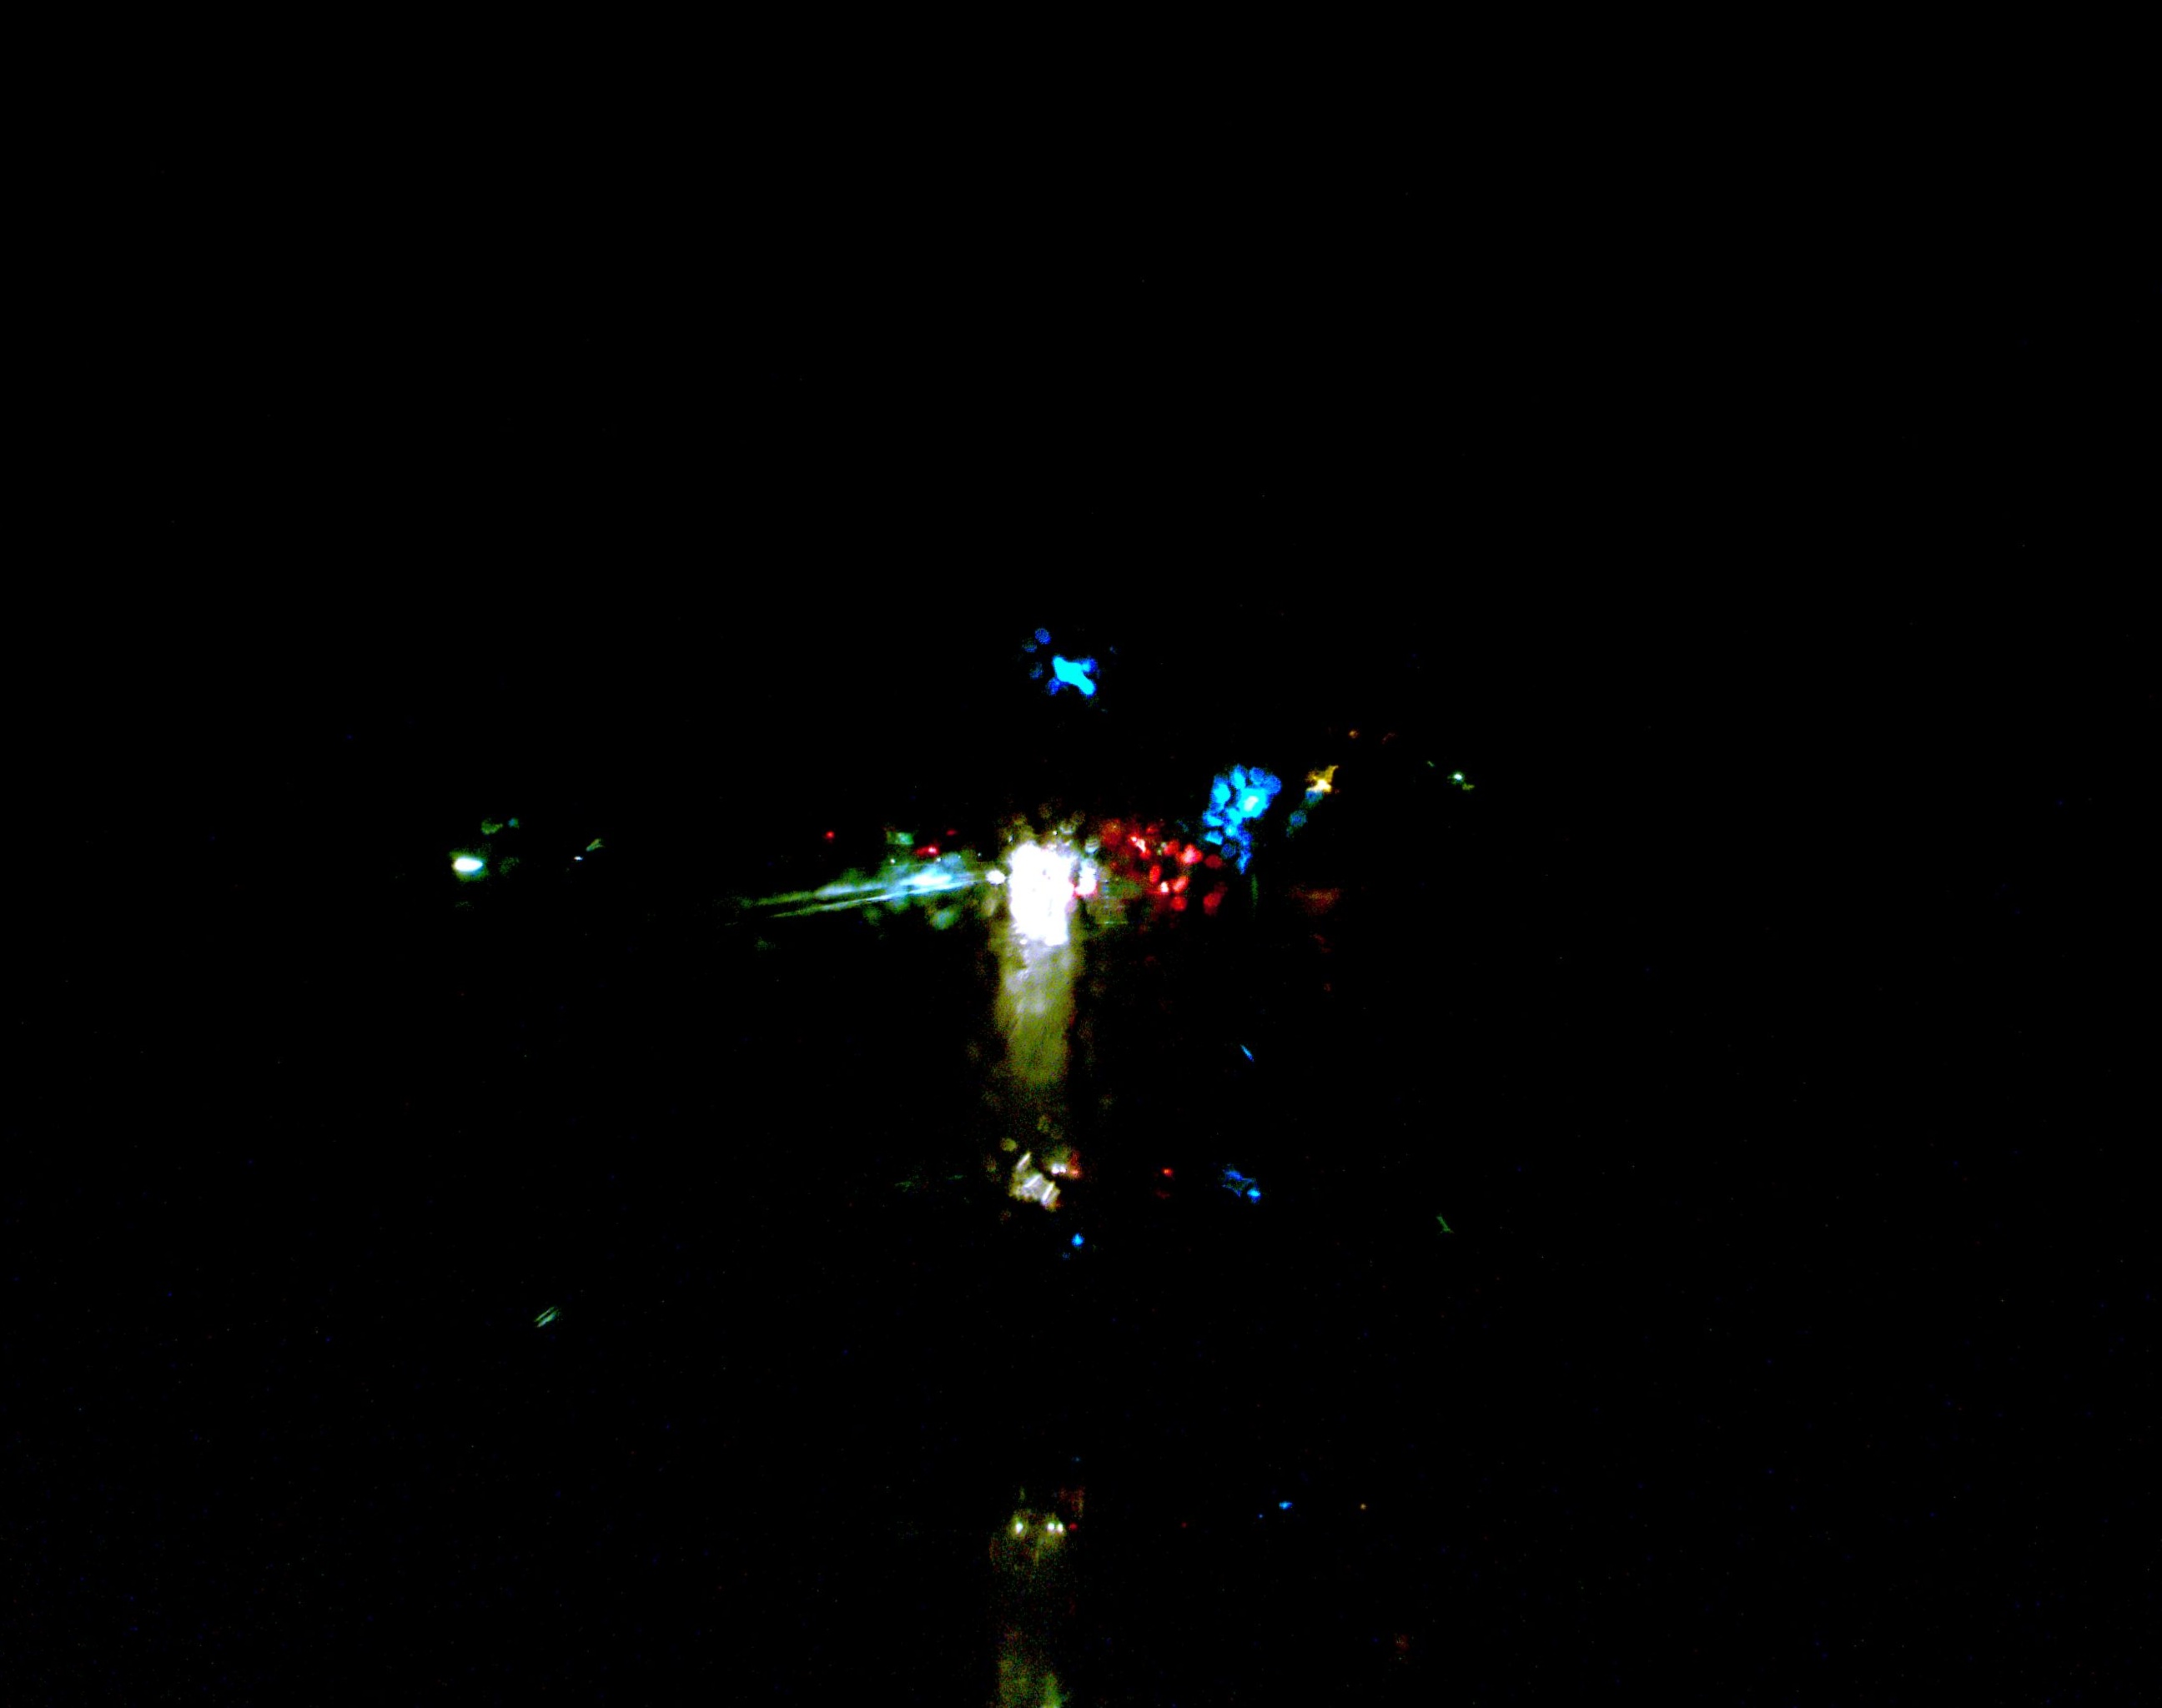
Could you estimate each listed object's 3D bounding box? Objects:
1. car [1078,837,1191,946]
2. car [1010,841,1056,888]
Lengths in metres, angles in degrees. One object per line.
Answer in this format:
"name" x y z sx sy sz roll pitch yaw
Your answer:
"car" 0.864 0.595 14.973 1.769 1.712 4.000 -1 0 0
"car" -2.264 0.552 38.880 1.989 2.014 3.995 -2 -2 -3
